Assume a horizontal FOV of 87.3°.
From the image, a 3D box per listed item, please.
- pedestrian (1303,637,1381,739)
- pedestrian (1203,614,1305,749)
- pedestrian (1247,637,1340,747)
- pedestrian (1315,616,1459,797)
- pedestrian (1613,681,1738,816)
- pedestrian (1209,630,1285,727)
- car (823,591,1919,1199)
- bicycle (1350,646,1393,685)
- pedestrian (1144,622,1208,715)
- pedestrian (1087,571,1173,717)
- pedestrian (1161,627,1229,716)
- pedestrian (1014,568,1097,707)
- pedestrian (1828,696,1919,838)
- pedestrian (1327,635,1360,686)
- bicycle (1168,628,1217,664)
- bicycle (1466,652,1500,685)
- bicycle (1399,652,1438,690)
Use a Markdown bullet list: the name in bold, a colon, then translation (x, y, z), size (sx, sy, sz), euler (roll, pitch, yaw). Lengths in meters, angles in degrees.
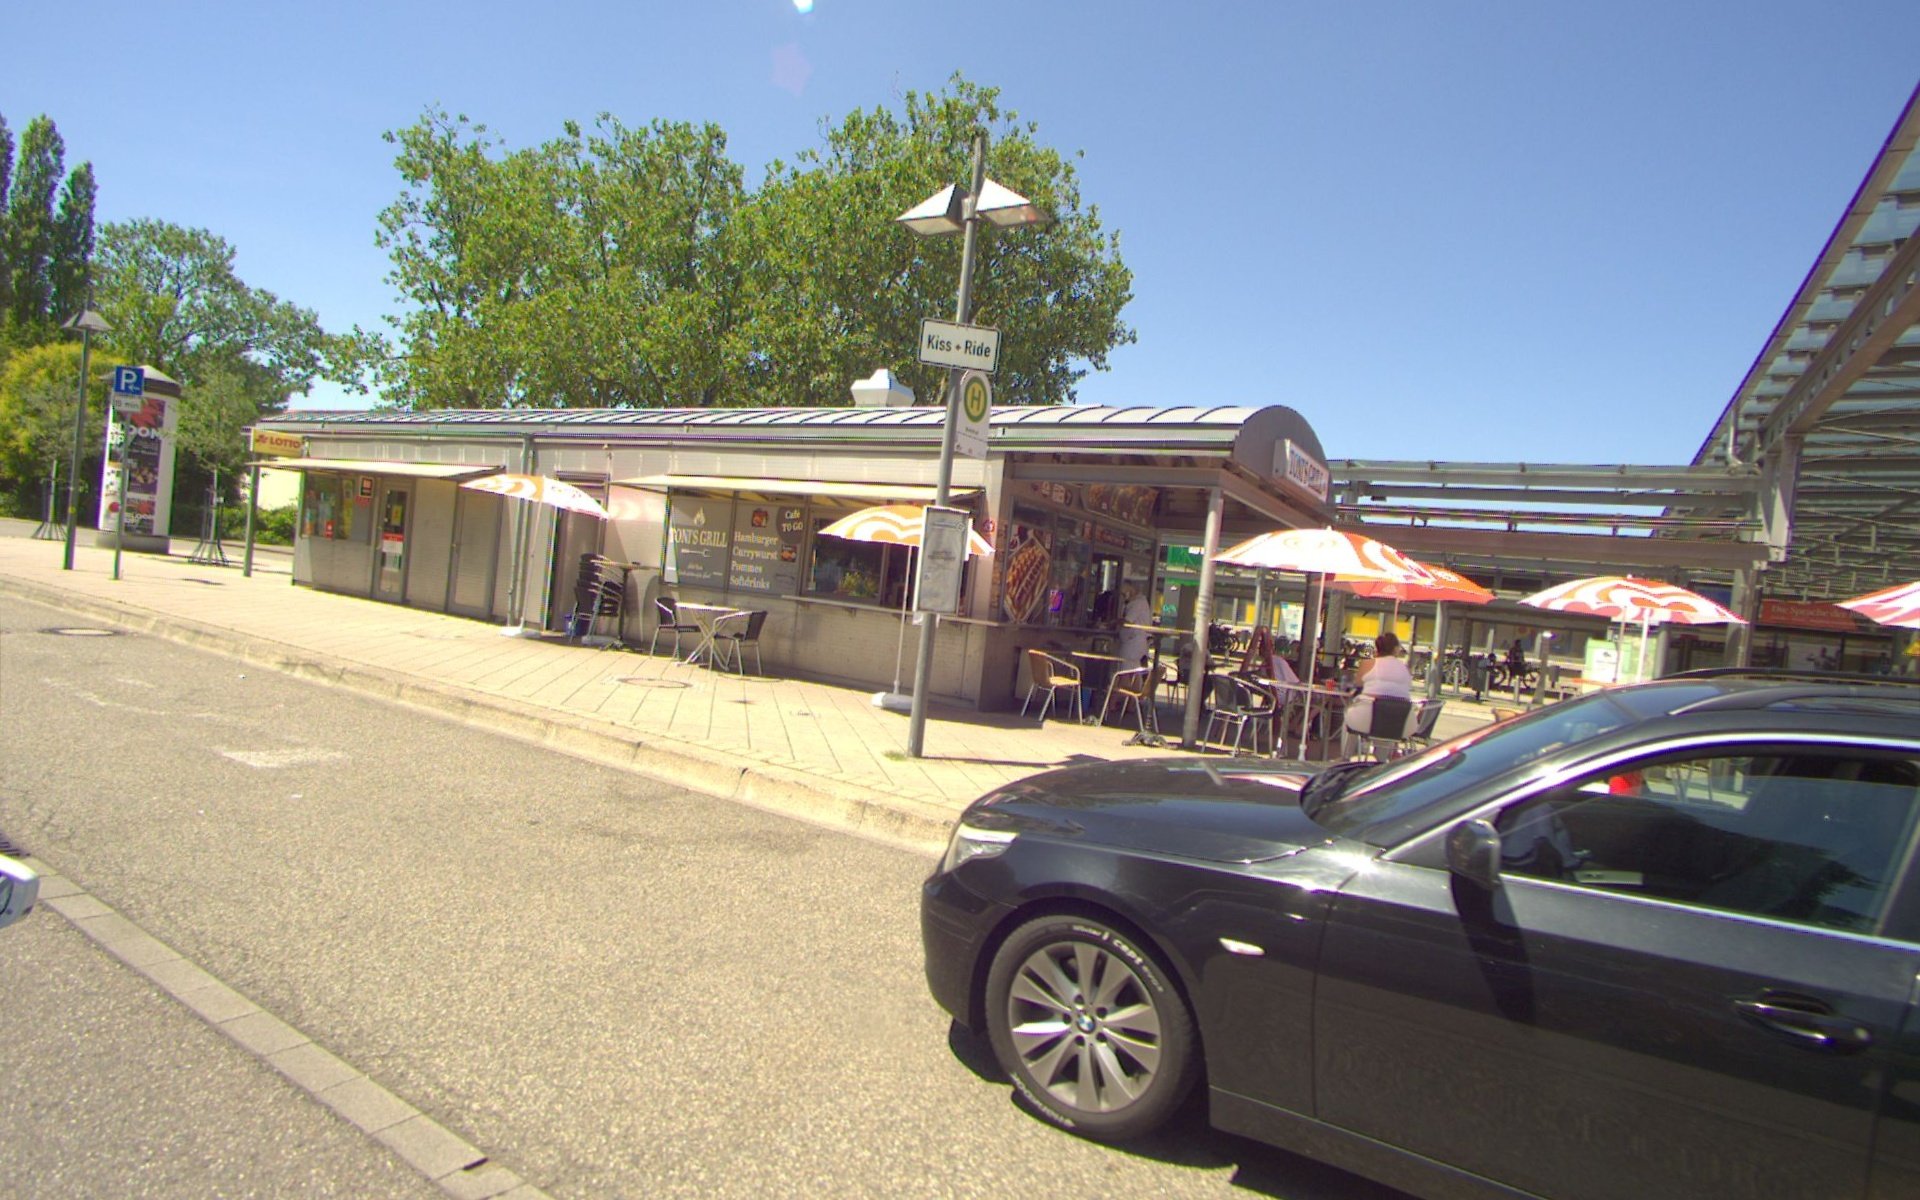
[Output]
- **pedestrian**: translation (5.053, 1.162, 13.291), size (0.725, 1.219, 0.760), euler (6, -1, 32)
- **pedestrian**: translation (3.162, 0.855, 10.908), size (0.676, 1.329, 0.894), euler (6, 1, -3)
- **pedestrian**: translation (3.993, 1.080, 12.105), size (0.676, 1.176, 0.894), euler (6, 1, -3)
- **pedestrian**: translation (3.722, 0.901, 8.837), size (0.676, 1.436, 0.894), euler (6, 1, -5)
- **pedestrian**: translation (7.198, 1.462, 10.141), size (0.881, 1.176, 0.686), euler (7, 1, 36)
- **pedestrian**: translation (3.970, 1.086, 13.908), size (0.725, 1.219, 0.760), euler (6, -1, 32)
- **car**: translation (2.073, 0.934, 2.876), size (4.646, 1.480, 1.926), euler (6, 3, 31)
- **bicycle**: translation (12.910, 2.078, 31.511), size (0.797, 1.015, 2.793), euler (6, -2, 30)
- **pedestrian**: translation (3.032, 0.970, 14.117), size (0.582, 1.219, 0.656), euler (6, -1, 31)
- **pedestrian**: translation (2.184, 0.562, 12.911), size (0.695, 1.760, 0.687), euler (7, 1, 32)
- **pedestrian**: translation (3.462, 1.050, 14.810), size (0.653, 1.219, 0.585), euler (8, -1, -43)
- **pedestrian**: translation (1.283, 0.498, 13.450), size (0.695, 1.760, 0.687), euler (7, 1, 32)
- **pedestrian**: translation (9.540, 1.691, 10.239), size (0.881, 1.294, 0.845), euler (7, 1, 36)
- **pedestrian**: translation (11.191, 1.754, 29.351), size (0.665, 1.413, 0.625), euler (6, 2, 32)
- **bicycle**: translation (8.007, 1.605, 34.583), size (0.797, 1.015, 2.793), euler (6, -2, 30)
- **bicycle**: translation (19.074, 2.510, 36.662), size (0.950, 1.015, 2.793), euler (6, -2, 30)
- **bicycle**: translation (14.185, 2.215, 31.067), size (0.797, 1.015, 2.793), euler (6, -2, 30)
